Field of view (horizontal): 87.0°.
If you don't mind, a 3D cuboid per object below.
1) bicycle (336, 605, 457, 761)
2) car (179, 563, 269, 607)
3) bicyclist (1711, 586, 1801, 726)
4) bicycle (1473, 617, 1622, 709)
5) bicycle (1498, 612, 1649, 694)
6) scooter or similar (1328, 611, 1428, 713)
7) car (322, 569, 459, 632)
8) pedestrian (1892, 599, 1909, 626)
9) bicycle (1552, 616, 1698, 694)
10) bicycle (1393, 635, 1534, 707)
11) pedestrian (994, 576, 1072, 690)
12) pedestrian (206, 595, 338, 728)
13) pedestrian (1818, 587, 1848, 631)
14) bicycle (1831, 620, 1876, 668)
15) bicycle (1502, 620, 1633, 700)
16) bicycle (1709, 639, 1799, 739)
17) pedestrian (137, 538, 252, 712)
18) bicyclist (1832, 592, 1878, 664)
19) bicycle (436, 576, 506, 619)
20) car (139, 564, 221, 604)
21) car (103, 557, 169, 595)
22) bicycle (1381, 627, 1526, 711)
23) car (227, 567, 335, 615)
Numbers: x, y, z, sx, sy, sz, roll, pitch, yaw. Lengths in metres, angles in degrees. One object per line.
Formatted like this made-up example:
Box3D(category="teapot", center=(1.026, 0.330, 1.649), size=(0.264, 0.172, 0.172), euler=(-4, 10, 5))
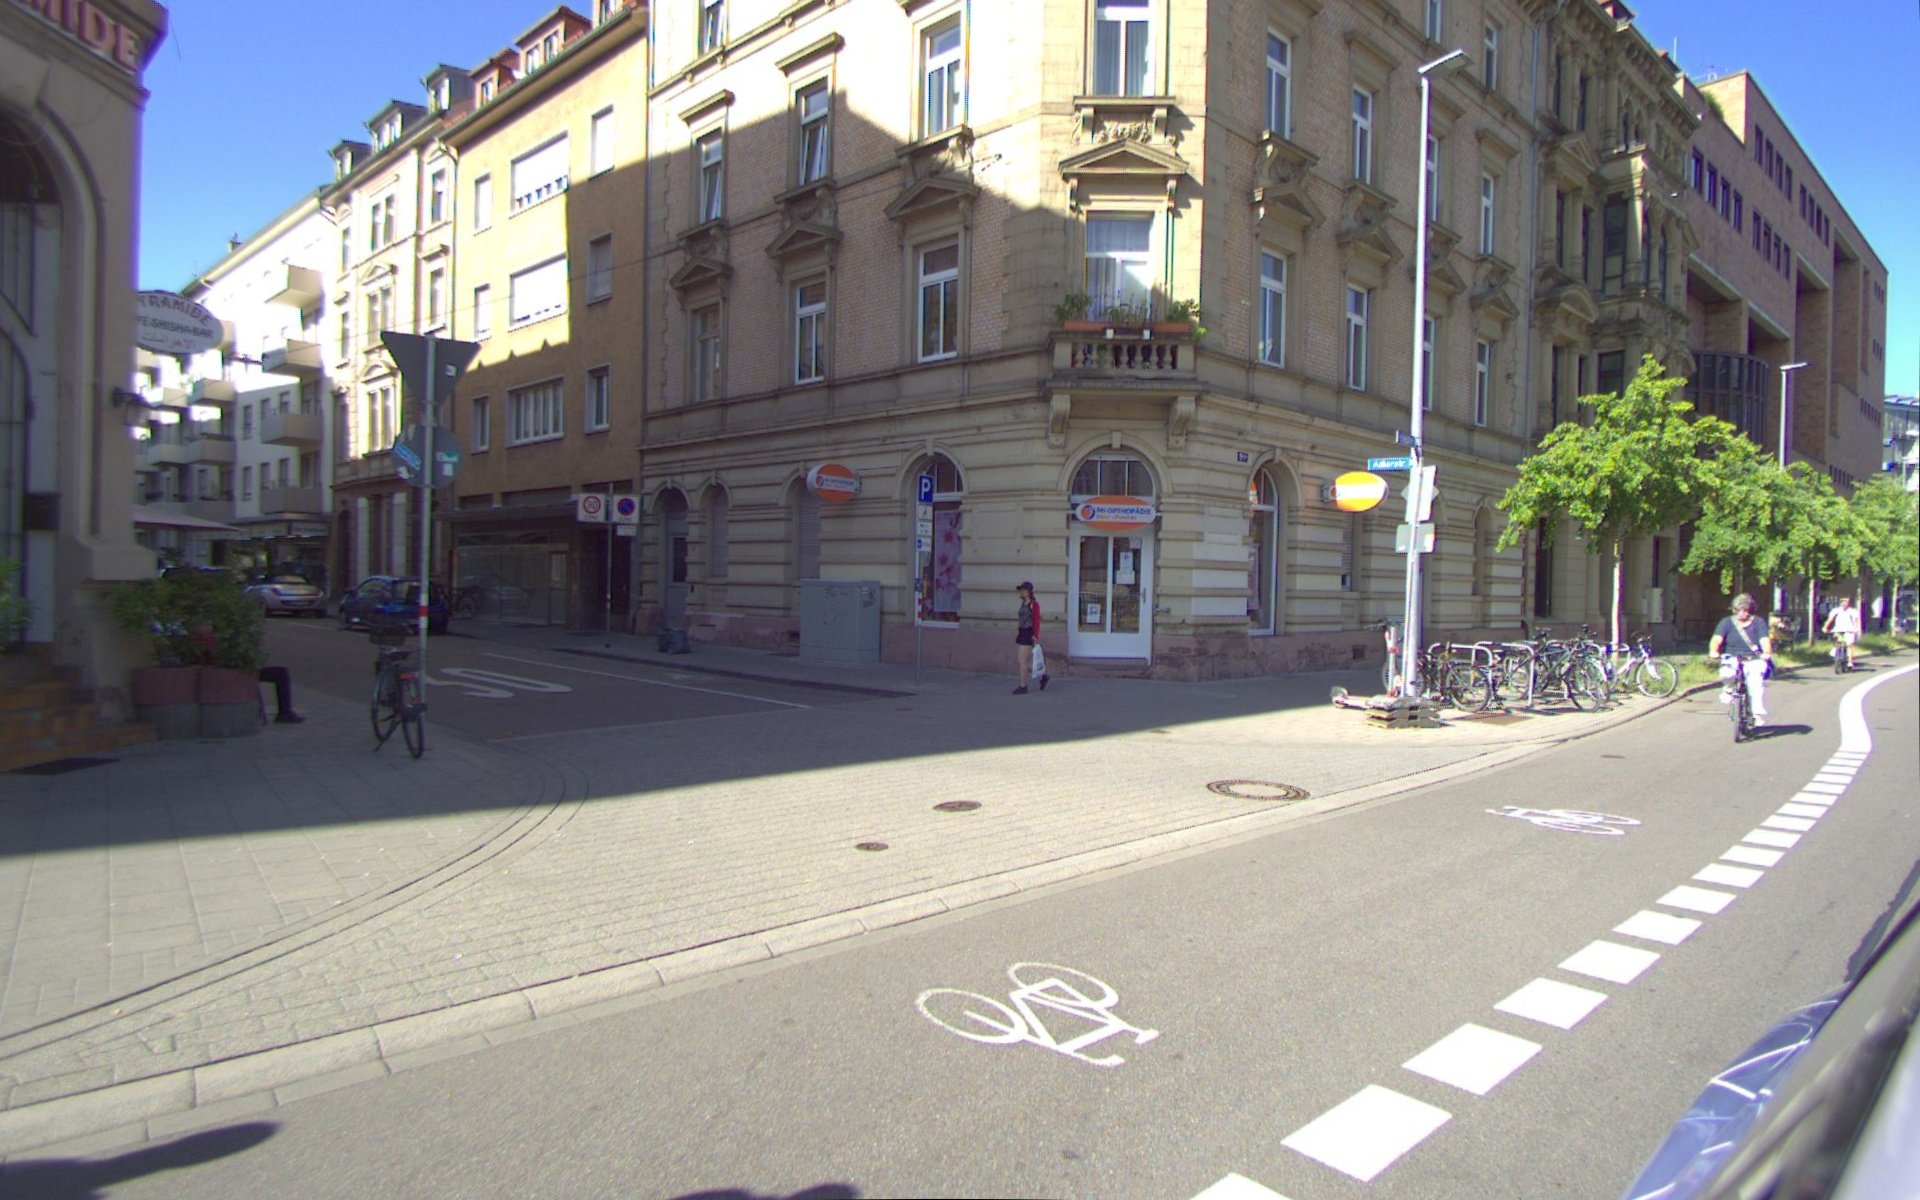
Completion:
Box3D(category="bicycle", center=(-5.026, 0.685, 8.975), size=(0.641, 1.186, 1.823), euler=(5, -1, -36))
Box3D(category="car", center=(-26.035, -0.544, 35.766), size=(3.757, 1.450, 1.776), euler=(2, 1, 40))
Box3D(category="bicyclist", center=(9.302, 0.626, 11.830), size=(0.893, 1.557, 0.658), euler=(1, -1, -41))
Box3D(category="bicycle", center=(8.518, 0.878, 14.746), size=(0.595, 1.114, 1.729), euler=(1, 3, -37))
Box3D(category="bicycle", center=(10.284, 0.856, 17.026), size=(0.697, 1.142, 2.001), euler=(1, 3, -39))
Box3D(category="scooter or similar", center=(5.380, 0.768, 13.062), size=(0.411, 1.204, 1.115), euler=(1, 1, -33))
Box3D(category="car", center=(-14.663, -0.003, 25.976), size=(3.983, 1.438, 1.775), euler=(2, -1, 40))
Box3D(category="pedestrian", center=(54.762, 0.718, 58.943), size=(0.723, 1.505, 0.633), euler=(0, 1, -41))
Box3D(category="bicycle", center=(11.509, 0.918, 17.552), size=(1.993, 1.106, 0.835), euler=(5, 3, 40))
Box3D(category="bicycle", center=(7.050, 0.963, 14.239), size=(0.595, 0.831, 1.677), euler=(1, 2, -33))
Box3D(category="pedestrian", center=(1.019, 0.449, 14.267), size=(0.908, 1.561, 0.713), euler=(1, 1, -11))
Box3D(category="pedestrian", center=(-6.796, 0.568, 10.000), size=(0.849, 1.229, 0.920), euler=(0, 0, 43))
Box3D(category="pedestrian", center=(37.901, 0.380, 43.937), size=(1.087, 1.906, 0.789), euler=(0, 1, -41))
Box3D(category="bicycle", center=(22.025, 1.066, 24.933), size=(1.480, 1.110, 0.578), euler=(0, -1, -39))
Box3D(category="bicycle", center=(9.527, 0.916, 15.922), size=(0.595, 1.058, 1.605), euler=(1, 3, -37))
Box3D(category="bicycle", center=(9.271, 1.004, 11.806), size=(1.481, 1.040, 0.558), euler=(0, -1, -41))
Box3D(category="pedestrian", center=(-8.341, 0.252, 11.024), size=(0.906, 1.783, 0.854), euler=(0, 0, 43))
Box3D(category="bicyclist", center=(22.050, 0.682, 24.936), size=(0.893, 1.751, 0.684), euler=(1, -1, -39))
Box3D(category="bicycle", center=(-14.436, -0.088, 29.869), size=(1.988, 1.193, 0.629), euler=(1, 1, 19))
Box3D(category="car", center=(-30.110, -0.645, 39.055), size=(3.757, 1.450, 1.776), euler=(2, 1, 40))
Box3D(category="car", center=(-37.558, -1.109, 46.115), size=(3.758, 1.686, 1.775), euler=(2, 1, 42))
Box3D(category="bicycle", center=(6.646, 0.903, 13.703), size=(0.595, 0.955, 1.677), euler=(1, 1, -33))
Box3D(category="car", center=(-21.376, -0.308, 31.803), size=(3.983, 1.351, 1.775), euler=(2, -1, 40))
